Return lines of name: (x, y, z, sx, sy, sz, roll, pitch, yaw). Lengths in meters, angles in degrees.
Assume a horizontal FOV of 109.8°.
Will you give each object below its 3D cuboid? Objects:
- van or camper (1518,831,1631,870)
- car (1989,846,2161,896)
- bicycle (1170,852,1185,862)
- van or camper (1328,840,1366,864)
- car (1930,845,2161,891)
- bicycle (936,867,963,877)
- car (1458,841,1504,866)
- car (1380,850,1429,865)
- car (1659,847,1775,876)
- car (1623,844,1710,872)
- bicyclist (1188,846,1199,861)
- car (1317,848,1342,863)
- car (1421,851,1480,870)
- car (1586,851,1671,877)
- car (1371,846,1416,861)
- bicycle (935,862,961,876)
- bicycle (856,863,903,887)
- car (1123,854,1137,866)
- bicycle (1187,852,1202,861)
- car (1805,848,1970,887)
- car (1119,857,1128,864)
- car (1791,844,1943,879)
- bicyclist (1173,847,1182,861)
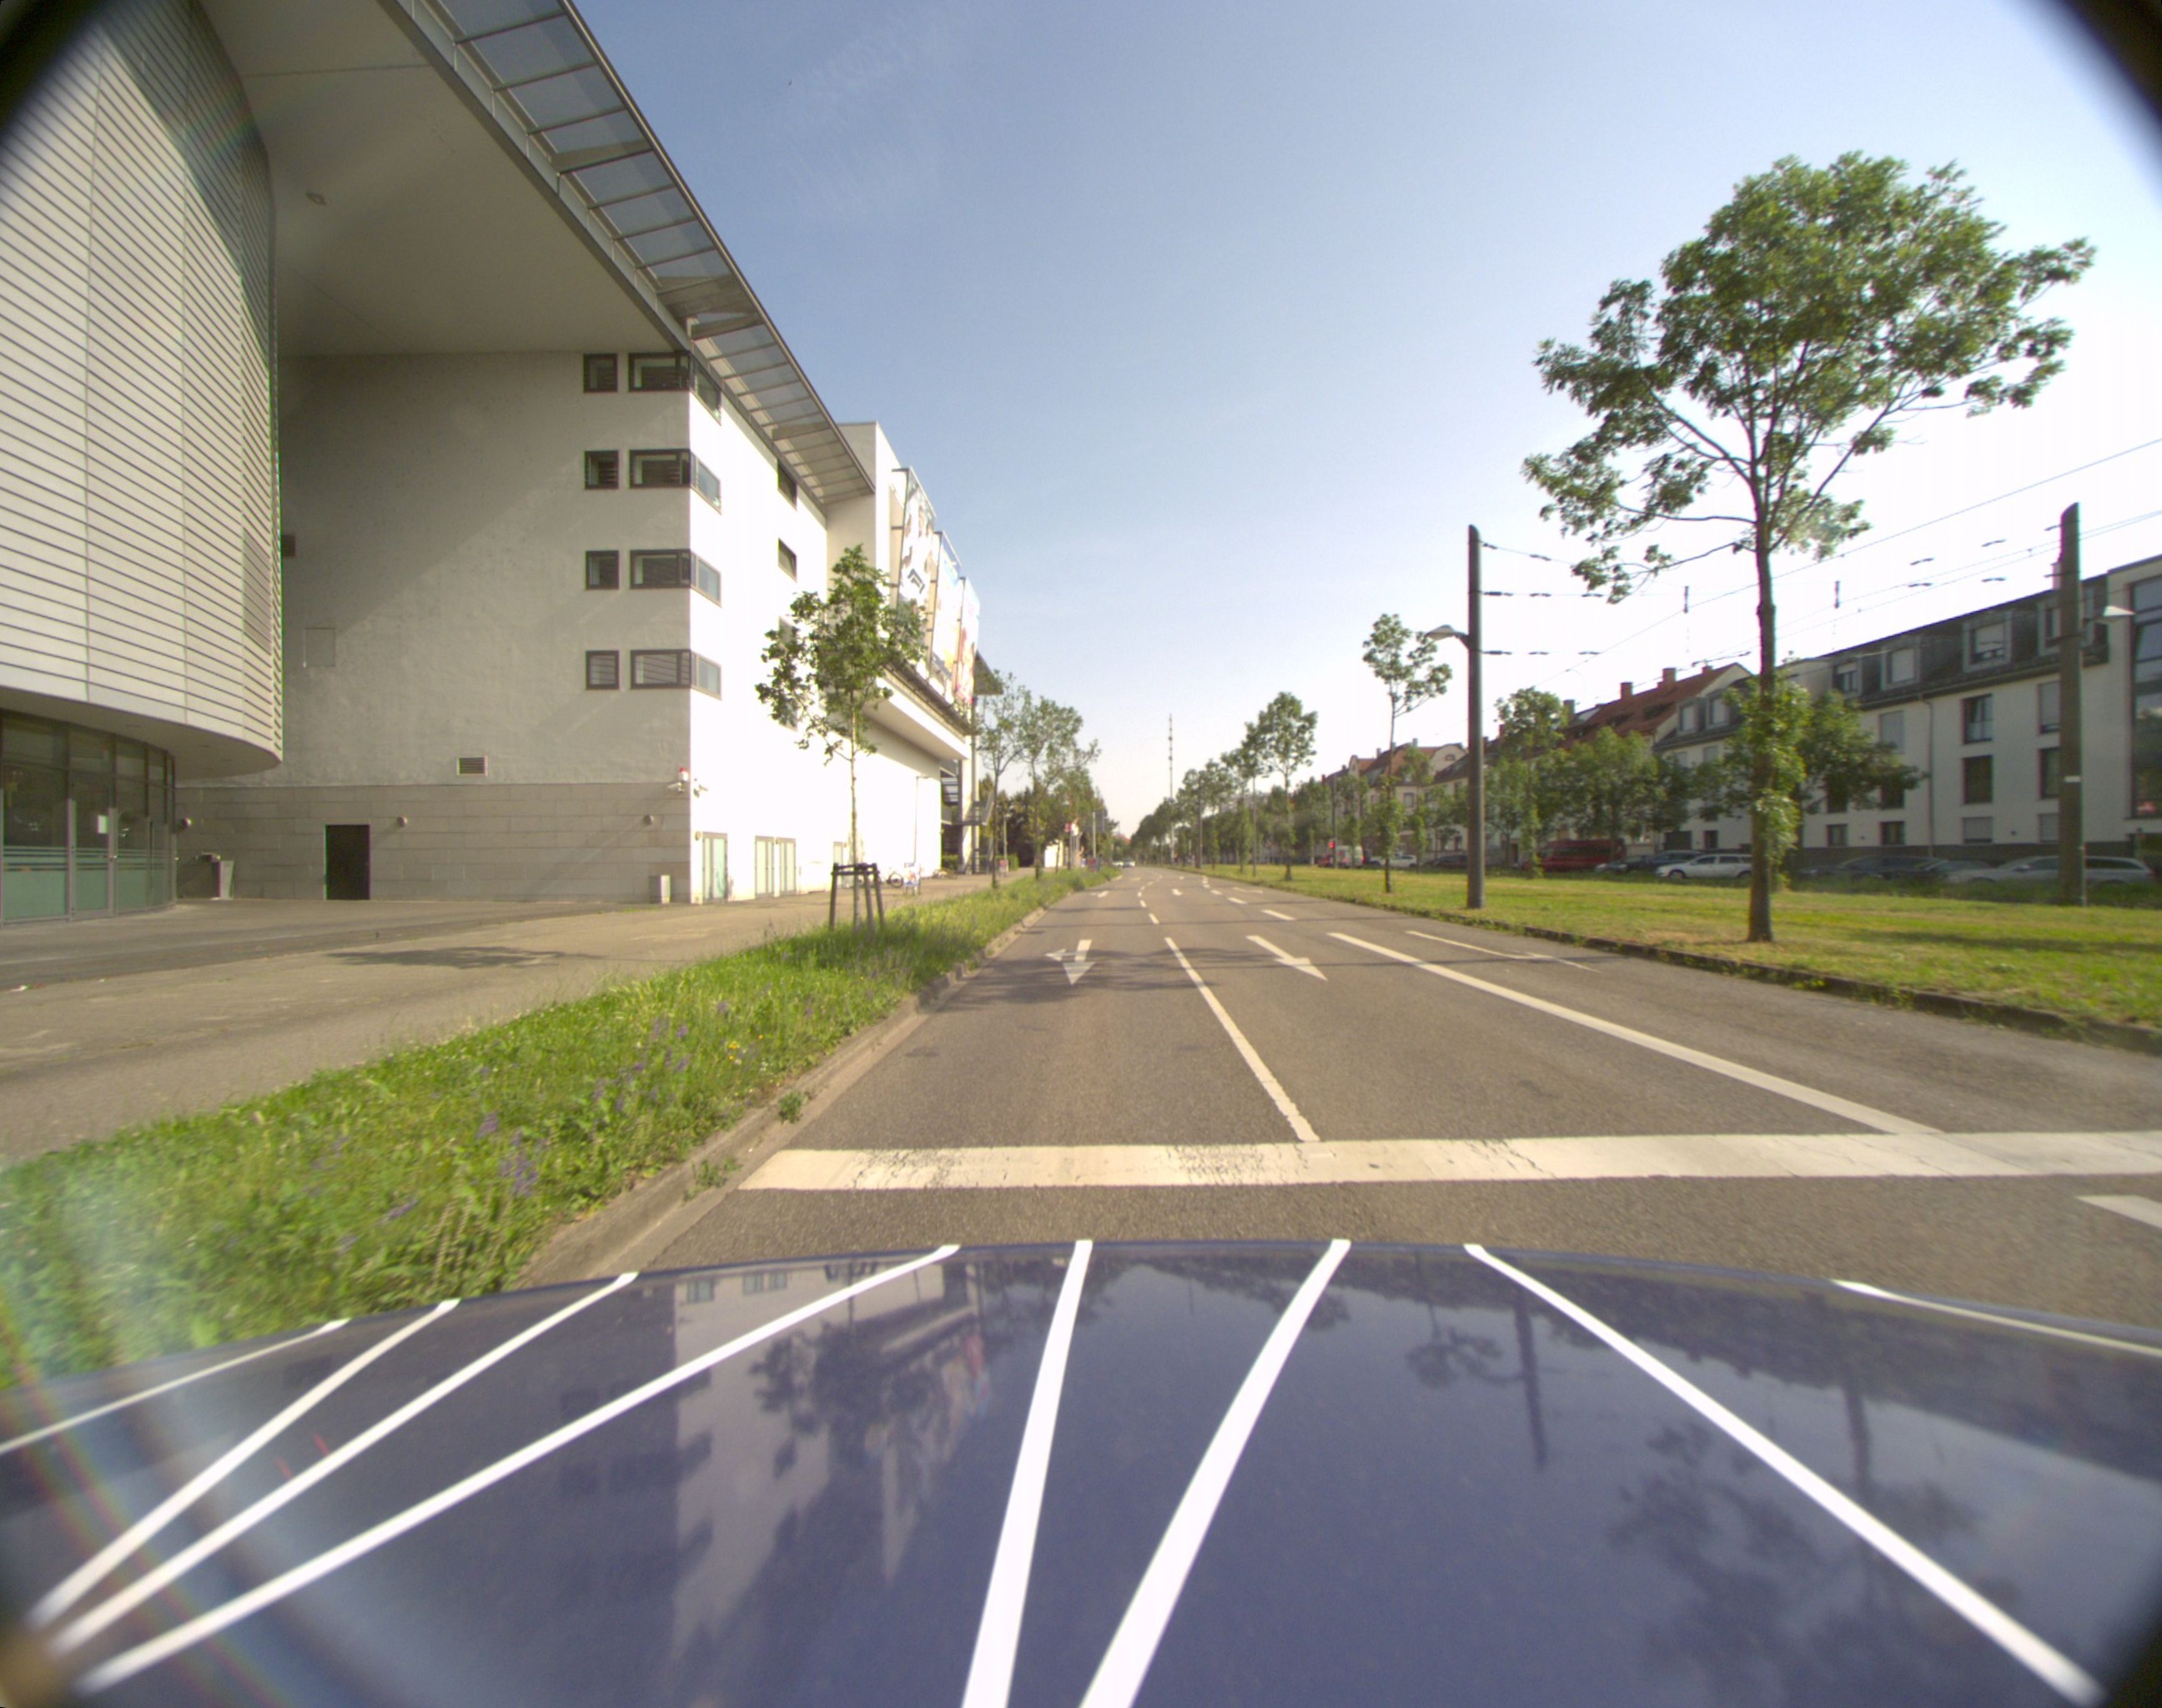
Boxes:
van or camper: (33.248, -0.188, 51.350, 6.144, 2.532, 2.419, -1, 0, 40)
car: (30.877, 0.522, 23.144, 3.771, 1.368, 1.667, -2, 0, 28)
bicycle: (12.062, 0.375, 95.271, 1.753, 1.139, 0.576, 0, 1, -15)
van or camper: (28.708, -0.215, 82.293, 2.146, 2.459, 6.059, 1, 0, 2)
car: (32.058, 0.471, 25.475, 4.329, 1.368, 2.003, -2, 0, 28)
bicycle: (-8.794, 1.183, 50.886, 1.661, 0.641, 0.538, 0, 0, 3)
car: (41.065, -0.040, 78.142, 1.998, 2.449, 5.579, -2, 0, 4)
car: (34.189, 0.356, 80.362, 4.354, 1.466, 1.861, -2, 0, 40)
car: (32.110, 0.381, 38.544, 4.387, 1.312, 1.737, -2, 0, 35)
car: (32.154, 0.235, 41.852, 3.711, 1.426, 1.645, -2, 0, 35)
bicyclist: (14.419, -0.043, 97.387, 1.185, 1.840, 0.912, -2, 1, 20)
car: (29.191, 0.141, 89.268, 1.820, 1.727, 4.162, 1, 0, 4)
car: (33.056, 0.561, 68.022, 4.338, 1.521, 2.004, -2, 0, 42)
car: (32.359, 0.599, 44.940, 3.989, 1.412, 1.785, -2, 0, 38)
car: (34.228, -0.069, 83.240, 4.088, 1.520, 1.816, -2, 0, 40)
bicycle: (-8.801, 0.994, 50.247, 1.661, 0.910, 0.483, 0, 0, 3)
bicycle: (-9.420, 0.991, 35.585, 2.012, 1.096, 0.676, -1, 0, 7)
car: (7.294, 0.868, 113.179, 1.998, 1.652, 4.001, -1, 0, 2)
bicycle: (14.542, 0.355, 97.386, 1.789, 1.139, 0.577, -2, 1, 20)
car: (31.176, 0.533, 29.553, 3.990, 1.368, 1.931, -2, 0, 29)
car: (10.390, 1.618, 185.776, 1.998, 1.652, 4.001, -1, 0, 2)
car: (32.377, 0.305, 31.474, 3.989, 1.368, 1.839, 0, 1, 29)
bicyclist: (12.073, -0.016, 95.339, 0.871, 1.812, 0.907, -1, 1, -11)
